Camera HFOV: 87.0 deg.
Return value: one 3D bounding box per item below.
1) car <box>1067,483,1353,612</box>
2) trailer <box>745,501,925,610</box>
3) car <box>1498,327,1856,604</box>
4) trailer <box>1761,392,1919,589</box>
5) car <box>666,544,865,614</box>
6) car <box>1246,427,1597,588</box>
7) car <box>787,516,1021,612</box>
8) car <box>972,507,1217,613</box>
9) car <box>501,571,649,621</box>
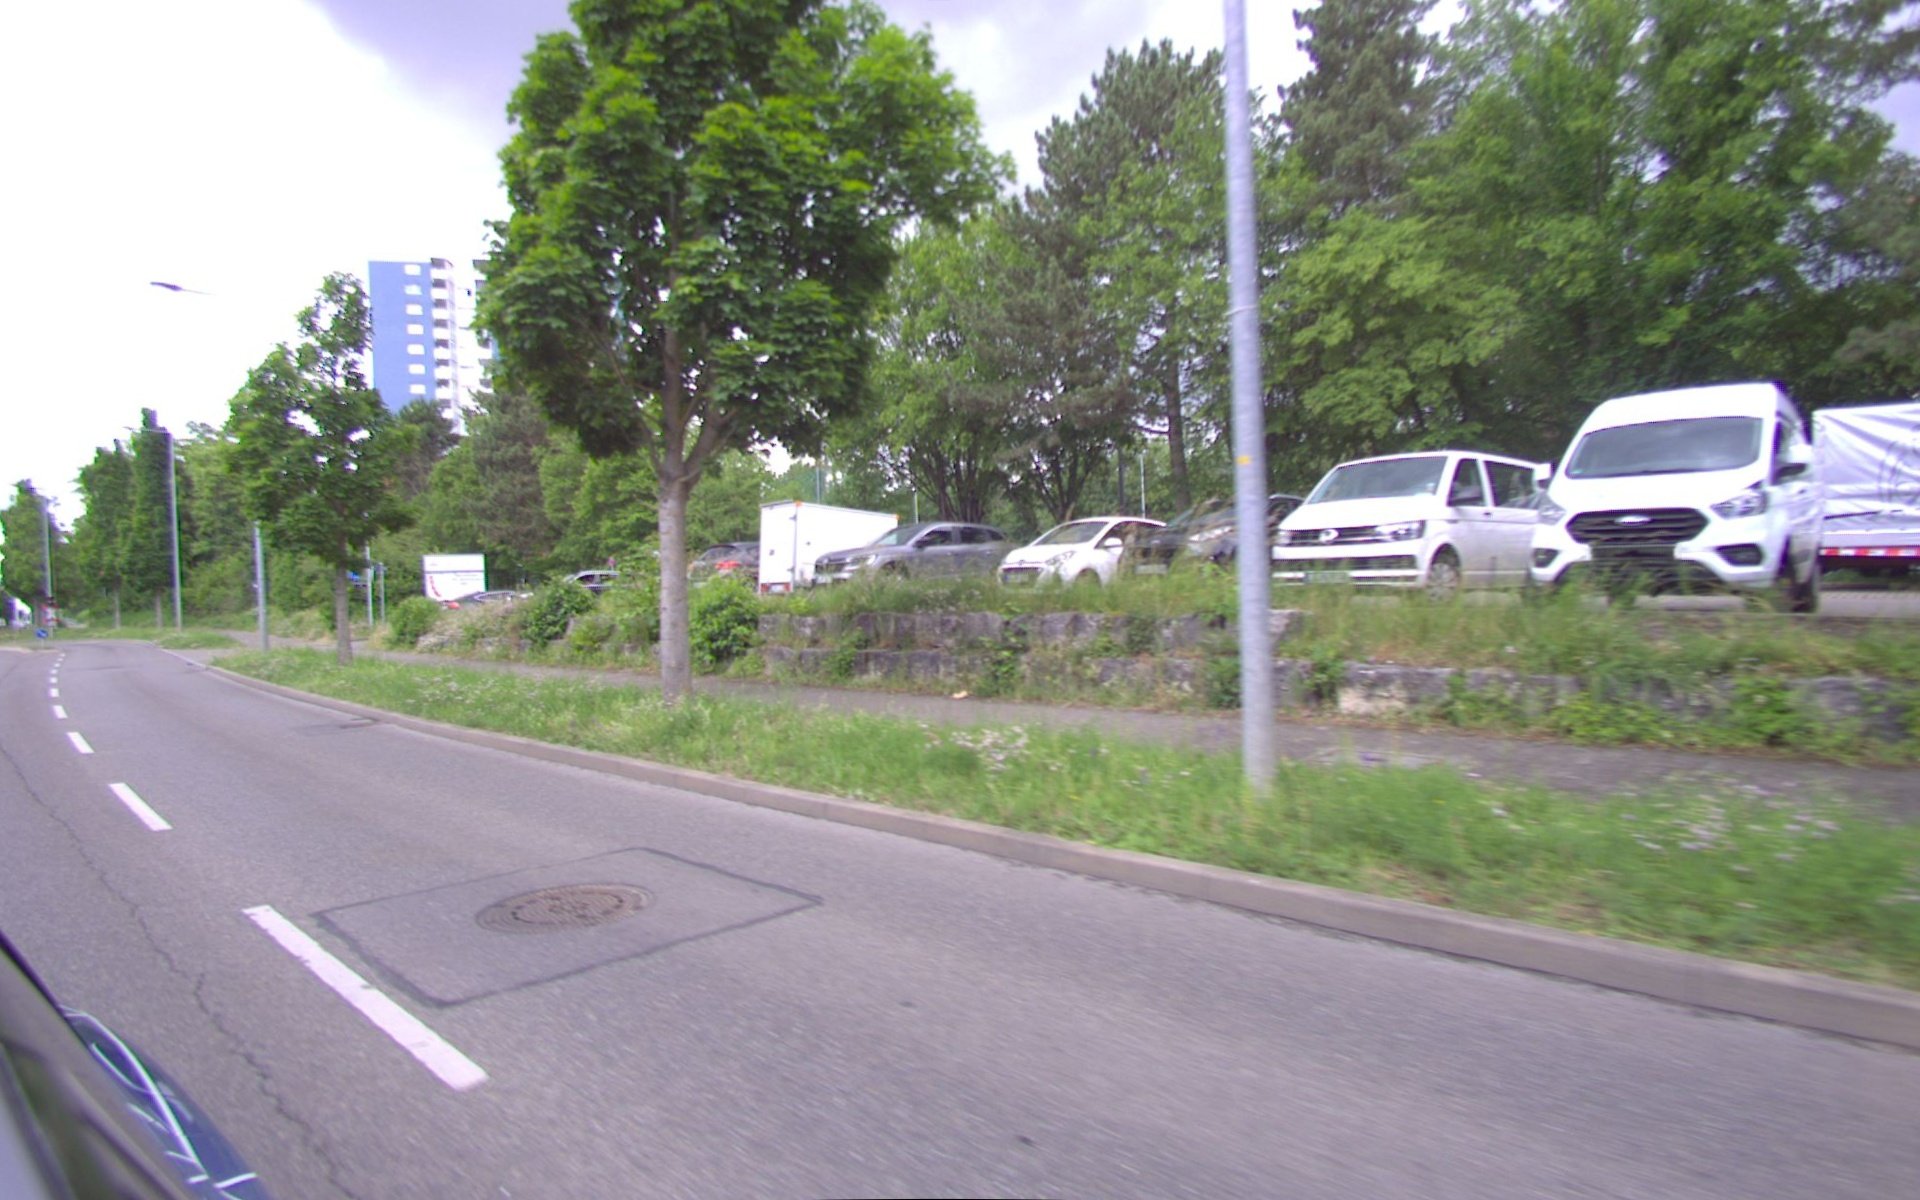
[{"bbox_3d":[3.653,-0.708,14.465,3.985,1.559,2.003,-3,1,-41],"label":"car"},{"bbox_3d":[-2.568,-0.886,21.104,3.324,2.073,1.681,-2,0,-41],"label":"trailer"},{"bbox_3d":[7.636,-1.142,10.513,2.215,2.122,5.098,-2,1,44],"label":"car"},{"bbox_3d":[17.232,-1.773,15.765,2.618,3.097,7.200,-3,2,-44],"label":"trailer"},{"bbox_3d":[-4.416,-0.505,23.248,3.985,1.428,2.003,-3,1,-41],"label":"car"},{"bbox_3d":[5.902,-1.039,12.622,4.933,1.559,2.100,-3,1,-41],"label":"car"},{"bbox_3d":[-1.001,-0.671,19.124,3.985,1.596,2.003,-3,1,-41],"label":"car"},{"bbox_3d":[2.294,-0.652,16.674,3.985,1.523,1.783,-3,1,-41],"label":"car"},{"bbox_3d":[-12.405,-0.154,32.739,3.985,1.428,2.003,-3,1,-41],"label":"car"}]
